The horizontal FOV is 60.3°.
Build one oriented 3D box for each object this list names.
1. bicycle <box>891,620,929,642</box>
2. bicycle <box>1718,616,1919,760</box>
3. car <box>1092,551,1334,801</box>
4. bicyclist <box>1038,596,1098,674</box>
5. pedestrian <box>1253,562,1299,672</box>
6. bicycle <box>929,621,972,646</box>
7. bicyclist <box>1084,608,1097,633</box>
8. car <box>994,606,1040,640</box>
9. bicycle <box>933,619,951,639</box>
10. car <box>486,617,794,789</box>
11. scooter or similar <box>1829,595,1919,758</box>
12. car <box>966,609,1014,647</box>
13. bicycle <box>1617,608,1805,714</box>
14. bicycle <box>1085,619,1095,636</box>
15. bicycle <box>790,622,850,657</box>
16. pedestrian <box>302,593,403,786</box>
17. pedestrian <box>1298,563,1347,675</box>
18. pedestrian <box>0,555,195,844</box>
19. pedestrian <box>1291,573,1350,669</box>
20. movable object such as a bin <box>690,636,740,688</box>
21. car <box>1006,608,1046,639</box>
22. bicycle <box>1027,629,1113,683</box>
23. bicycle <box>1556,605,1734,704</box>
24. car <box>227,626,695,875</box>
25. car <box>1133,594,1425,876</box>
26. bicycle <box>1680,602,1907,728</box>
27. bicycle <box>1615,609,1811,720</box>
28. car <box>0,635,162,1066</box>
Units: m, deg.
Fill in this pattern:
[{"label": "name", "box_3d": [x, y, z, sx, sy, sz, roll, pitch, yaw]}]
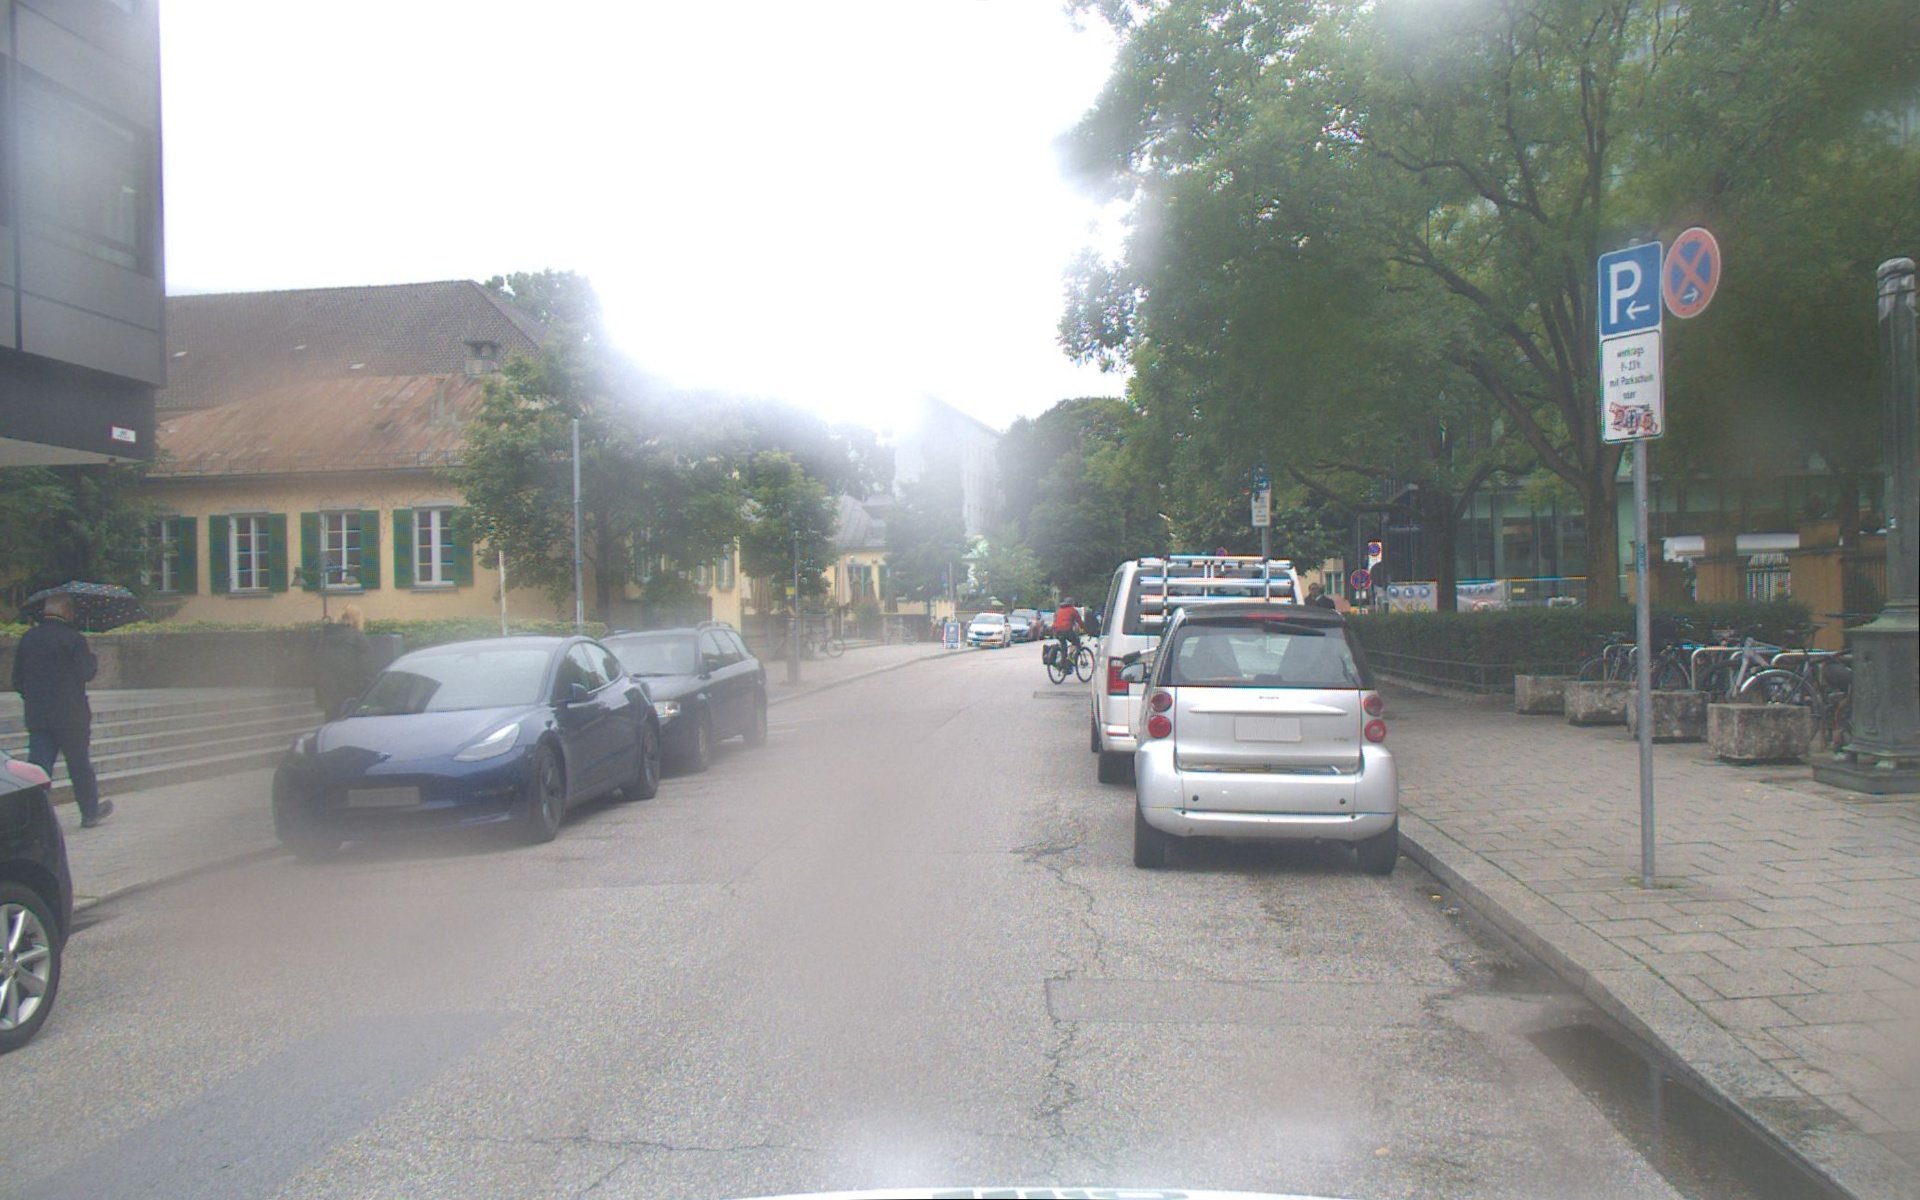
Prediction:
[{"label": "bicycle", "box_3d": [-2.251, 1.401, 74.192, 1.590, 0.942, 0.647, -1, -2, -20]}, {"label": "bicycle", "box_3d": [7.624, 0.744, 14.273, 1.891, 1.133, 0.471, -3, -1, 2]}, {"label": "car", "box_3d": [2.248, 0.620, 15.962, 1.806, 1.967, 5.275, 1, 0, 4]}, {"label": "bicyclist", "box_3d": [2.158, 0.699, 33.061, 0.661, 1.524, 1.089, -3, -3, 40]}, {"label": "pedestrian", "box_3d": [6.418, 0.350, 33.622, 0.727, 2.172, 1.056, -2, -1, 4]}, {"label": "bicycle", "box_3d": [-0.393, 1.419, 69.624, 0.611, 1.022, 2.130, 1, 0, 38]}, {"label": "bicyclist", "box_3d": [8.596, 1.327, 108.983, 0.727, 1.603, 0.977, -2, 0, 3]}, {"label": "car", "box_3d": [3.018, 1.175, 86.512, 1.951, 1.677, 4.659, -1, 0, 7]}, {"label": "bicycle", "box_3d": [-0.928, 1.530, 85.973, 0.608, 1.022, 1.620, -1, -2, 10]}, {"label": "car", "box_3d": [-3.315, 1.013, 18.234, 1.951, 1.517, 4.886, -3, -1, 6]}, {"label": "scooter or similar", "box_3d": [7.481, 0.590, 12.990, 0.533, 1.243, 0.997, -2, -1, -40]}, {"label": "car", "box_3d": [1.354, 1.246, 74.009, 1.697, 1.609, 3.790, 1, 0, 8]}, {"label": "bicycle", "box_3d": [8.722, 0.702, 19.257, 1.891, 1.133, 0.471, -3, -1, 6]}, {"label": "bicycle", "box_3d": [8.585, 1.798, 108.914, 0.608, 1.022, 2.141, -2, 0, 4]}, {"label": "bicycle", "box_3d": [-4.663, 1.300, 55.033, 1.889, 1.118, 0.615, 0, 0, 8]}, {"label": "pedestrian", "box_3d": [-5.859, 0.841, 15.987, 0.739, 1.780, 0.950, -1, -1, -11]}, {"label": "pedestrian", "box_3d": [7.257, 0.374, 33.150, 0.727, 2.172, 1.056, -2, -1, 4]}, {"label": "pedestrian", "box_3d": [-6.693, 0.722, 12.593, 1.111, 2.091, 1.222, 0, -1, 4]}, {"label": "pedestrian", "box_3d": [7.492, 0.425, 34.348, 0.731, 1.941, 1.050, -3, -1, 40]}, {"label": "movable object such as a bin", "box_3d": [-5.343, 1.345, 36.091, 0.915, 1.082, 0.840, -1, 0, 2]}, {"label": "car", "box_3d": [3.670, 1.332, 91.564, 1.951, 1.631, 4.002, -1, -1, 6]}, {"label": "bicycle", "box_3d": [2.221, 1.116, 33.121, 0.611, 1.022, 2.130, -3, -2, 38]}, {"label": "bicycle", "box_3d": [8.585, 0.679, 20.763, 1.989, 1.133, 0.471, -3, -1, 1]}, {"label": "car", "box_3d": [-3.574, 0.995, 12.973, 1.883, 1.464, 4.919, -4, -1, 3]}, {"label": "car", "box_3d": [1.960, 0.767, 10.864, 1.571, 1.573, 2.935, 1, 0, 5]}, {"label": "bicycle", "box_3d": [8.155, 0.629, 16.228, 1.890, 1.133, 0.471, -3, -1, 7]}, {"label": "bicycle", "box_3d": [8.397, 0.715, 18.490, 1.890, 1.133, 0.471, -3, -1, 7]}, {"label": "car", "box_3d": [-4.355, 0.936, 4.706, 1.703, 1.486, 4.239, -4, -1, 6]}]
